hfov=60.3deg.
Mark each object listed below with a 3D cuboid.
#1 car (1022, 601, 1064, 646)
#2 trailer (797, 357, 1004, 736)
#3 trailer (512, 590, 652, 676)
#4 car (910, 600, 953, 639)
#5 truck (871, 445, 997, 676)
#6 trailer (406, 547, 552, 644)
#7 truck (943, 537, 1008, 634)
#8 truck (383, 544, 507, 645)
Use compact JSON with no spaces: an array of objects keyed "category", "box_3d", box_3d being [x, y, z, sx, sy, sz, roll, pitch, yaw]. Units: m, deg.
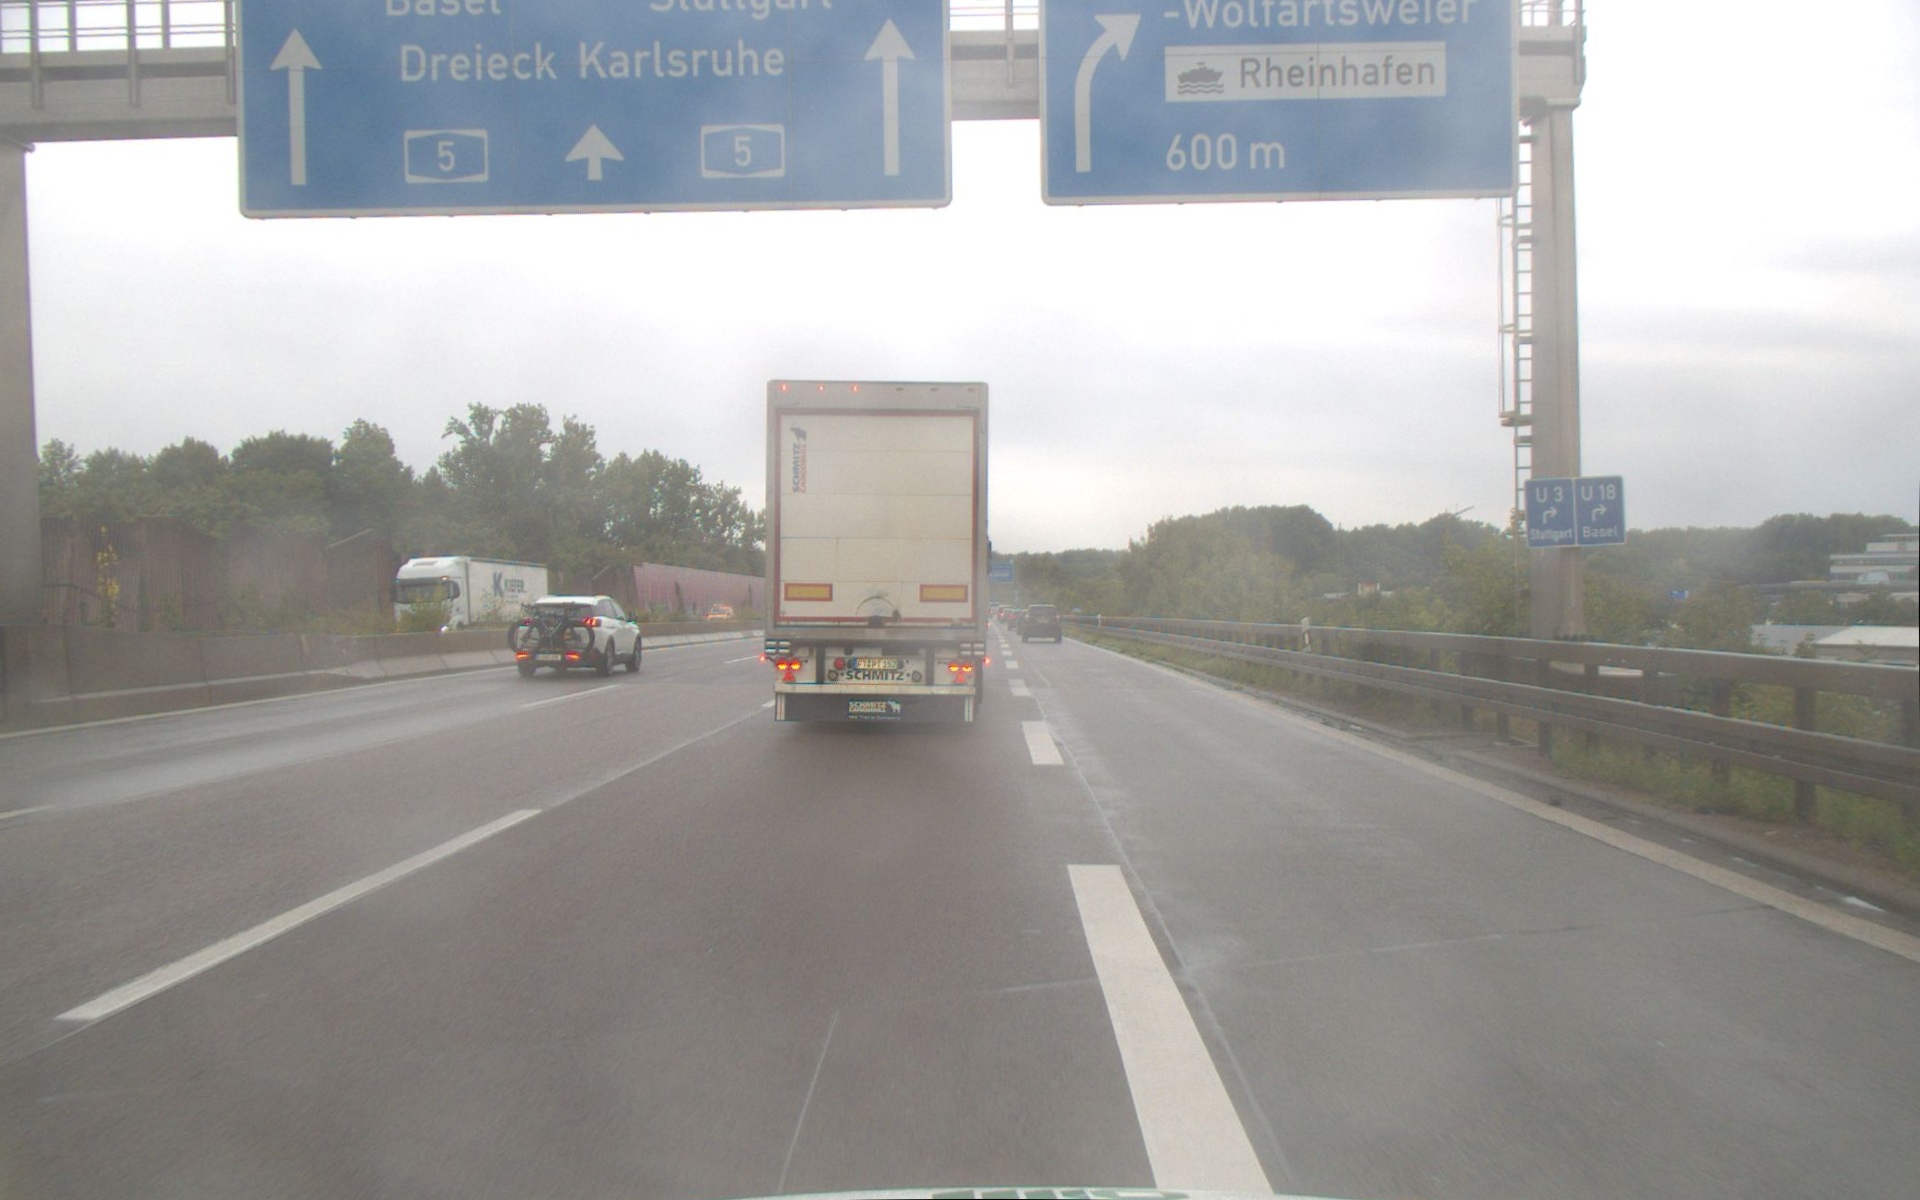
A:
[{"category":"car","box_3d":[3.816,1.049,76.395,1.858,1.983,4.001,1,0,2]},{"category":"trailer","box_3d":[-0.556,-0.682,25.928,2.294,4.230,14.829,0,1,1]},{"category":"trailer","box_3d":[-7.729,0.633,34.218,1.777,1.653,4.568,0,0,1]},{"category":"car","box_3d":[-1.287,0.877,76.709,1.855,1.754,4.000,1,0,1]},{"category":"truck","box_3d":[-0.434,-0.770,33.566,2.294,4.230,6.347,0,1,1]},{"category":"trailer","box_3d":[-23.102,-0.214,80.520,2.993,4.259,13.570,1,0,0]},{"category":"truck","box_3d":[0.916,-0.780,96.140,3.461,5.274,9.893,1,0,1]},{"category":"truck","box_3d":[-23.134,-0.220,74.713,2.993,4.259,7.888,1,0,0]}]
